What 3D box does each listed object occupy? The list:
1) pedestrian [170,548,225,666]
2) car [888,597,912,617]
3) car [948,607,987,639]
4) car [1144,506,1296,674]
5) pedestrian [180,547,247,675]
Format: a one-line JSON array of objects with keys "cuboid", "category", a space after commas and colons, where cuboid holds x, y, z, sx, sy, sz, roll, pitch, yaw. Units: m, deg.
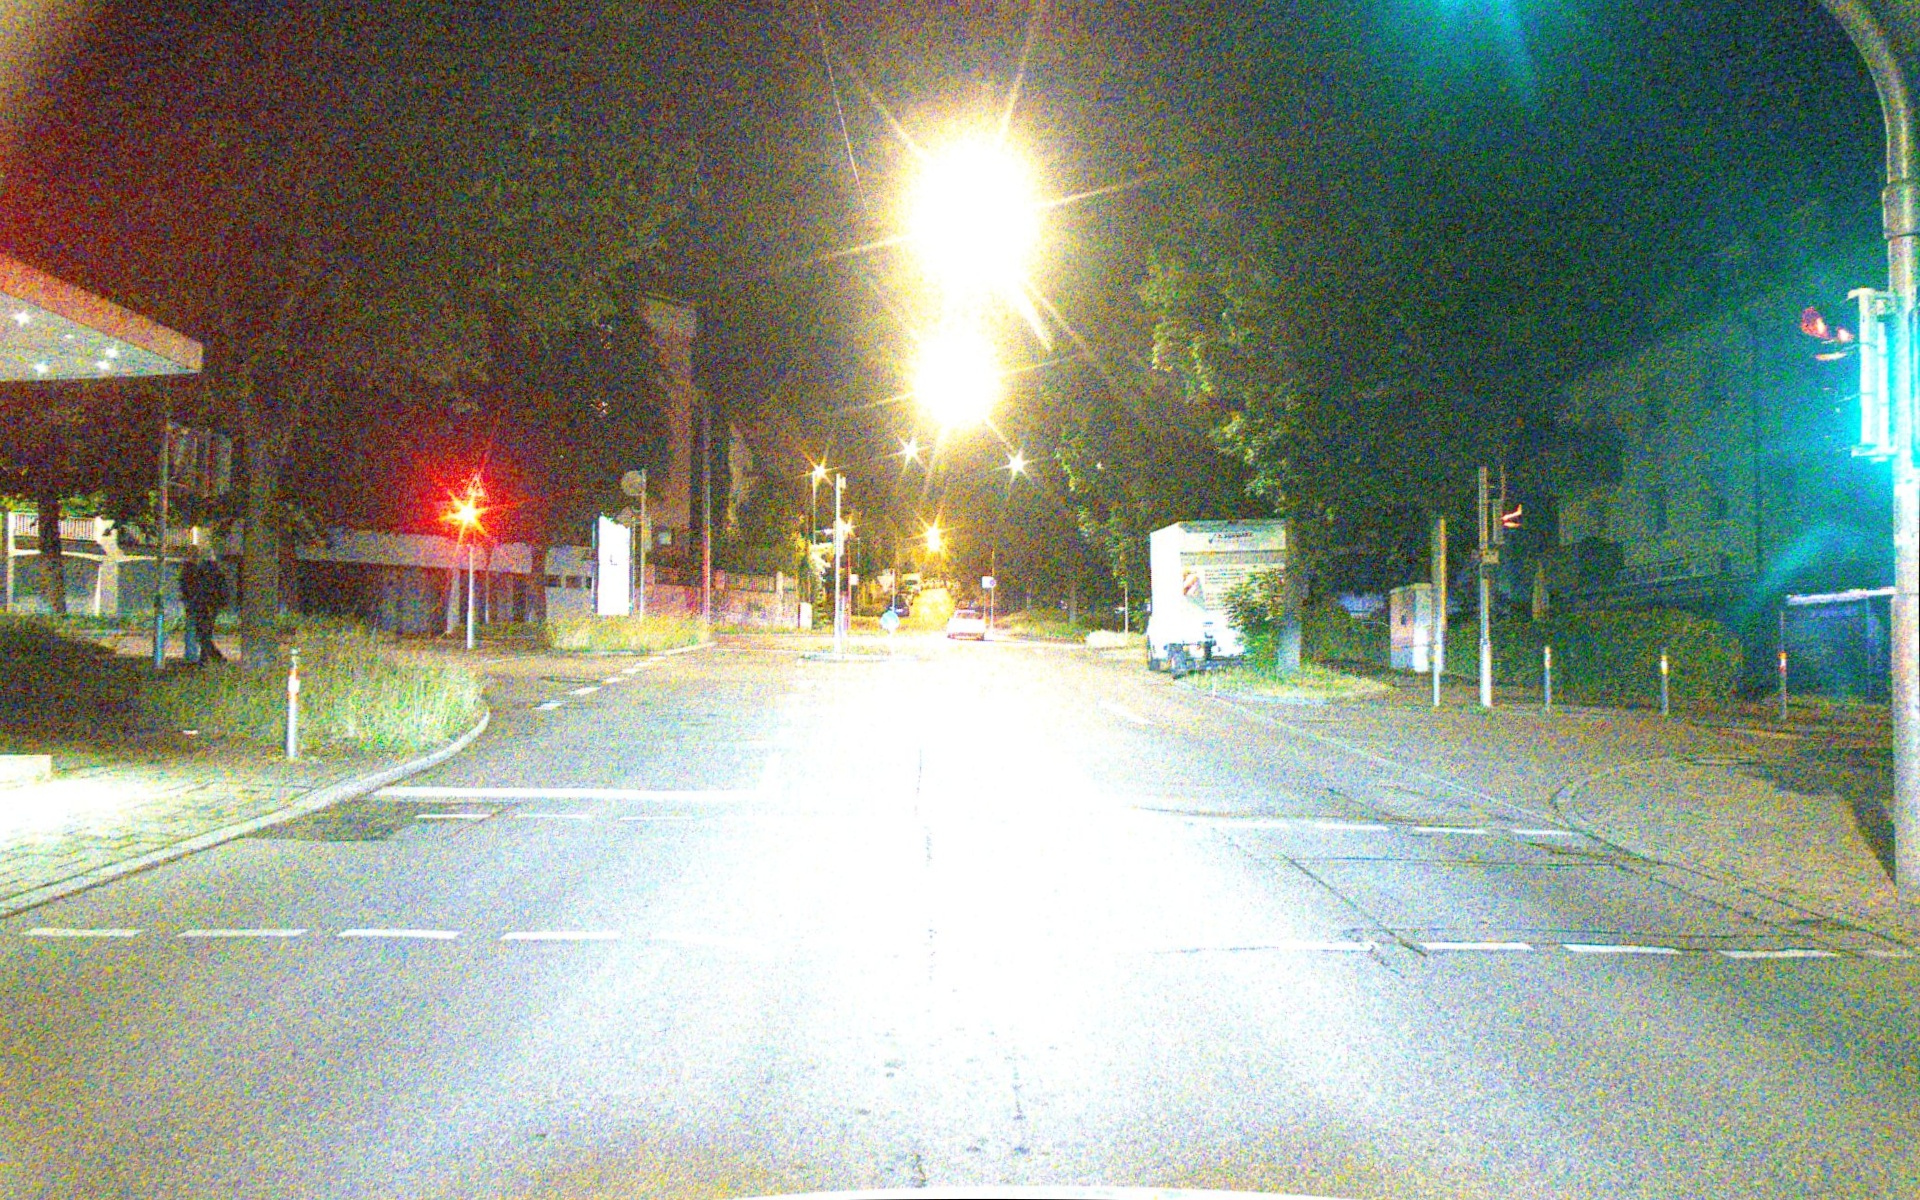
[{"cuboid": [-11.554, 0.109, 25.074, 0.558, 1.761, 0.543, 1, -1, -1], "category": "pedestrian"}, {"cuboid": [-4.834, 0.545, 134.277, 1.869, 1.585, 3.903, 1, 0, -1], "category": "car"}, {"cuboid": [0.346, 1.112, 82.548, 1.740, 1.512, 3.997, 1, 0, -3], "category": "car"}, {"cuboid": [5.253, -0.178, 34.303, 2.249, 3.147, 5.840, -1, 0, 1], "category": "car"}, {"cuboid": [-10.820, 0.162, 23.989, 0.558, 1.808, 0.737, 3, -1, -1], "category": "pedestrian"}]
